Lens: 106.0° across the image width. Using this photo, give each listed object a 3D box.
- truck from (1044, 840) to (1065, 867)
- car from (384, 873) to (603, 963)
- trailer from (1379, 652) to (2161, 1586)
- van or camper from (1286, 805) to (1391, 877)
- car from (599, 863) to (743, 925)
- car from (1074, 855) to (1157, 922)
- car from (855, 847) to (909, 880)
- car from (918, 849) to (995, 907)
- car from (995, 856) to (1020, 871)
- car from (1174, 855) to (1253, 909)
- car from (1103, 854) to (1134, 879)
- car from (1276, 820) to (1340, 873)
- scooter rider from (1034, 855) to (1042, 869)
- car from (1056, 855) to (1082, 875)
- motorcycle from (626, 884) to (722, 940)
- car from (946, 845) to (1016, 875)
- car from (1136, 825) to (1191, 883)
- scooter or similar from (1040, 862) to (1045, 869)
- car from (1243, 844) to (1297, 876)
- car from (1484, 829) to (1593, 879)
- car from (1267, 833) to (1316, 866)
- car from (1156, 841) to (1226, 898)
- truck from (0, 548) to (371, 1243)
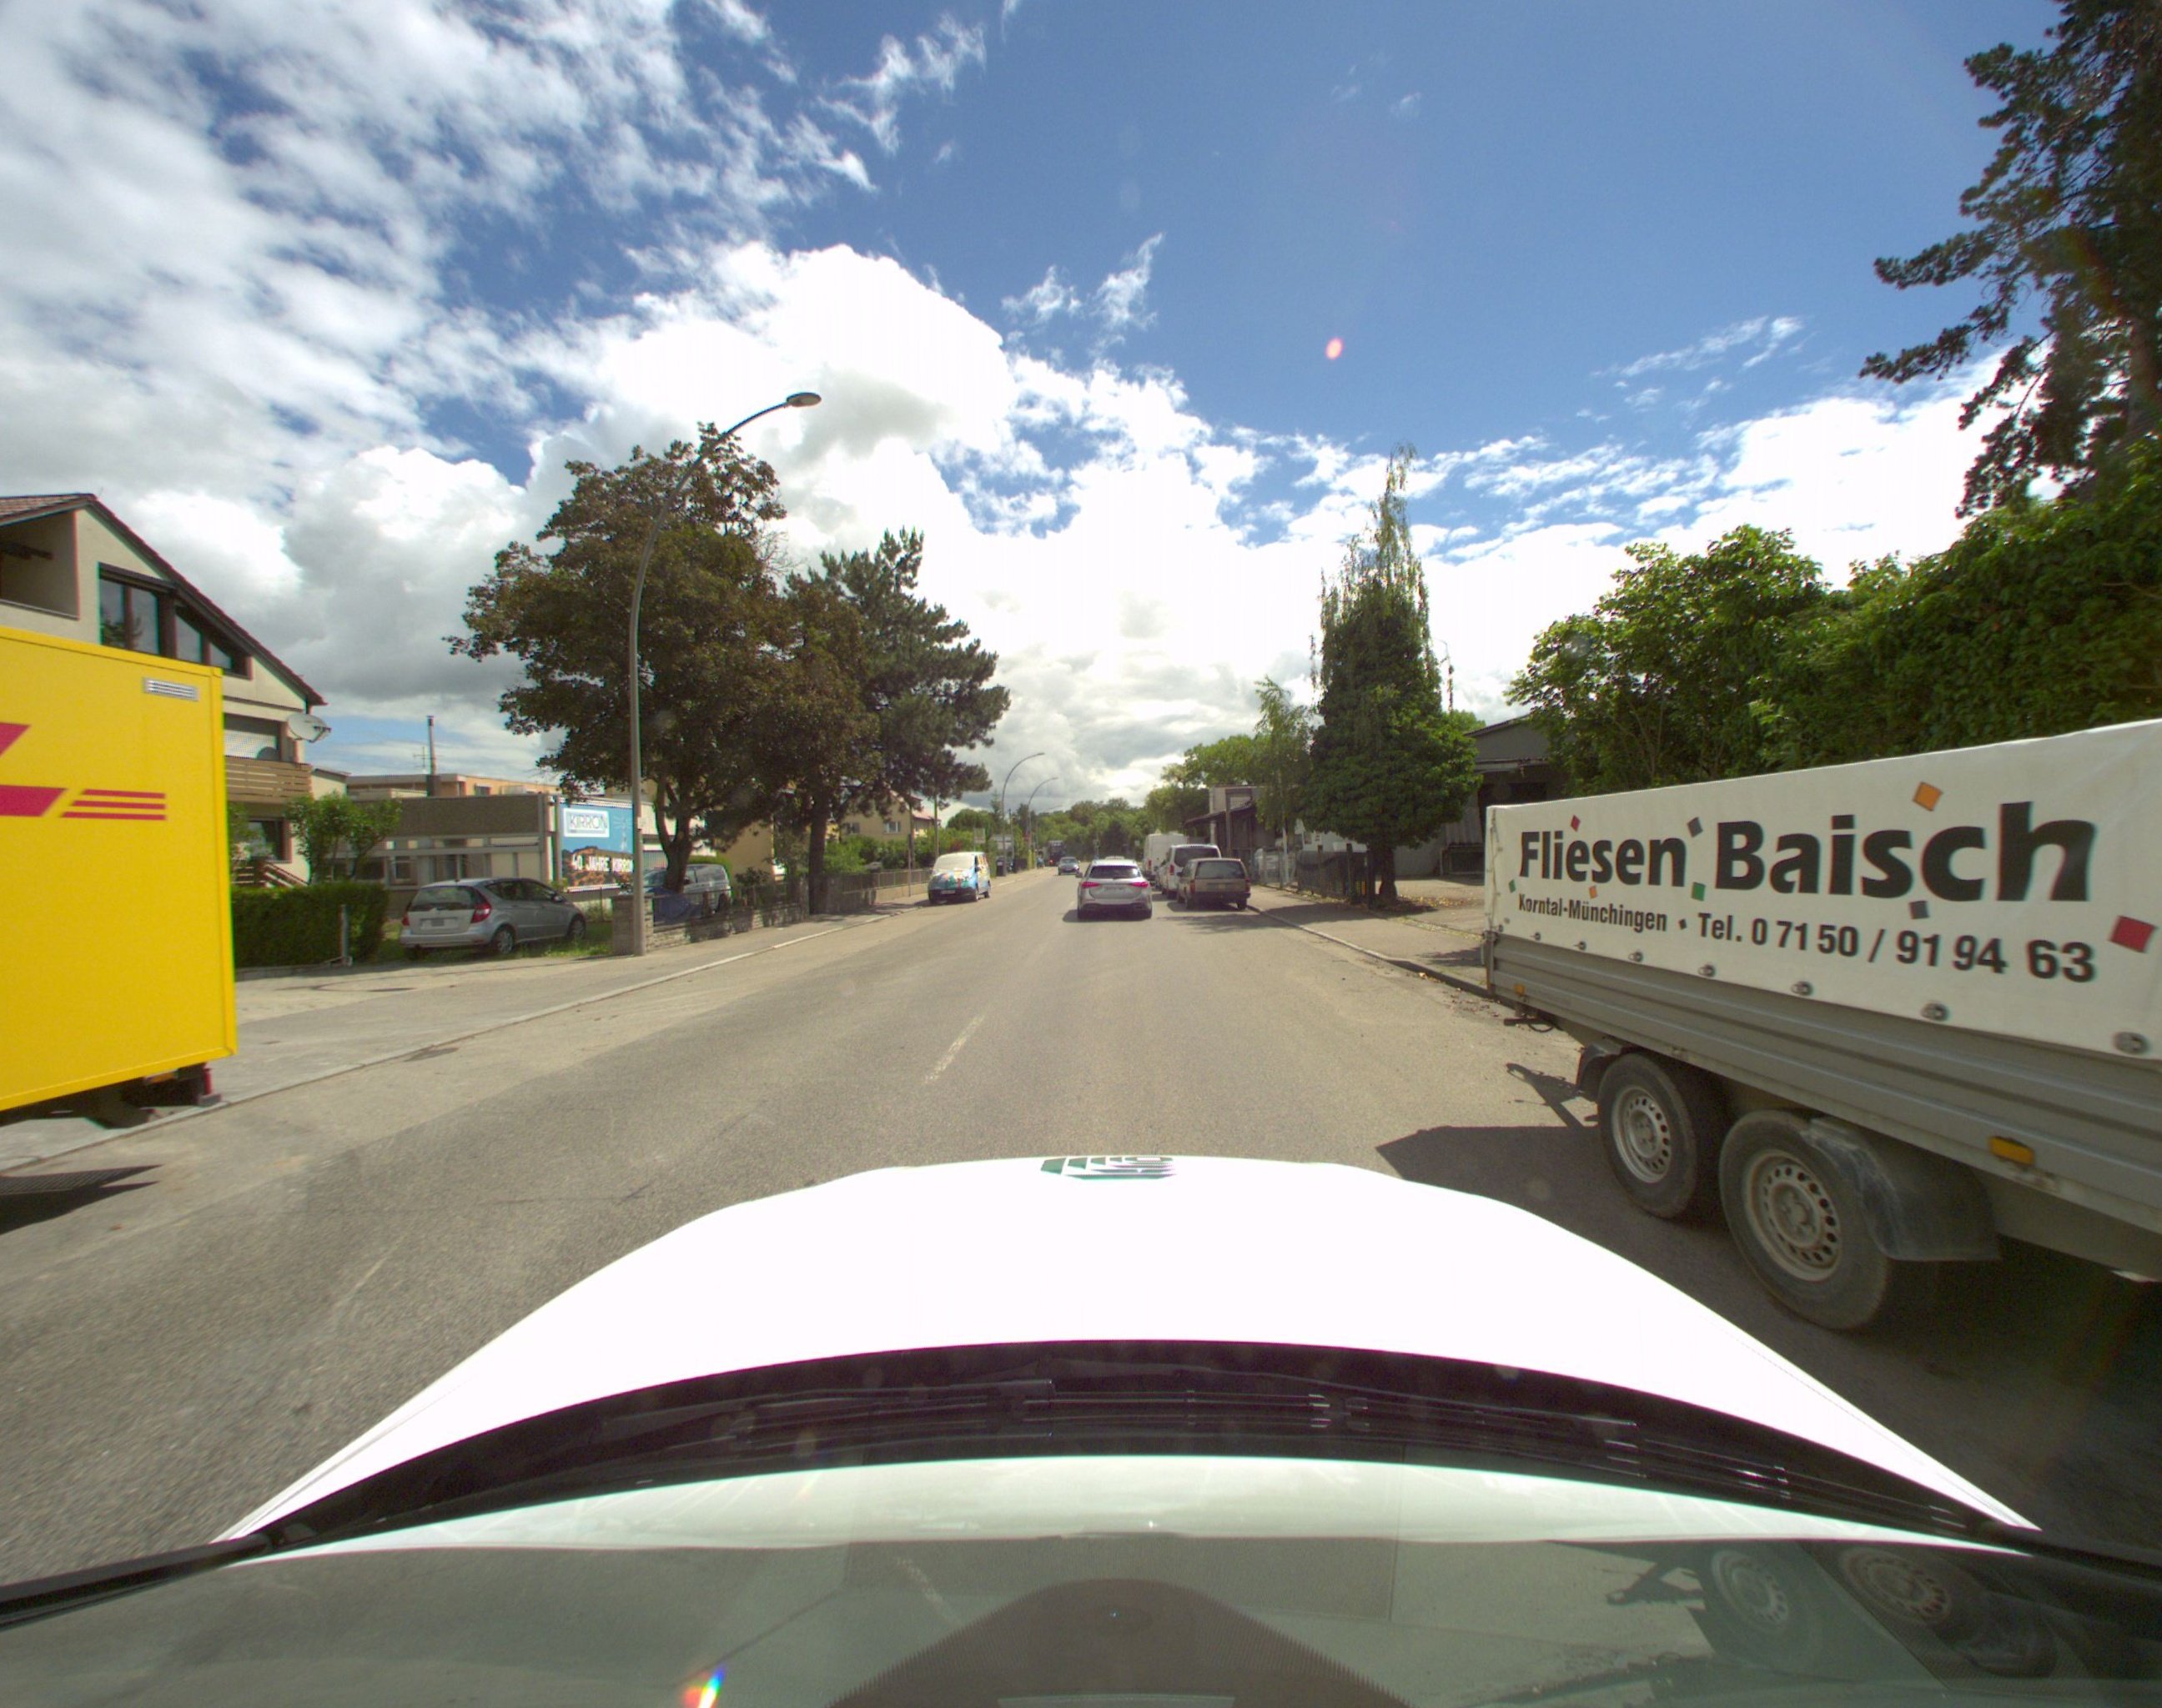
[{"bbox_3d":[-4.290,-0.018,129.771,2.427,4.131,9.127,0,-1,-7],"label":"truck"},{"bbox_3d":[-12.314,1.251,17.470,1.762,1.543,4.085,-2,0,-2],"label":"car"},{"bbox_3d":[3.182,0.516,3.811,1.986,1.823,4.767,0,0,2],"label":"trailer"},{"bbox_3d":[12.198,-0.578,39.309,2.871,3.061,6.914,-2,0,1],"label":"van or camper"},{"bbox_3d":[-14.207,1.318,28.673,2.072,1.830,5.481,-3,0,2],"label":"car"},{"bbox_3d":[0.834,0.805,20.897,1.878,1.508,4.001,-2,0,1],"label":"car"},{"bbox_3d":[-16.663,0.779,68.554,2.401,2.495,6.143,-4,0,5],"label":"car"},{"bbox_3d":[-4.627,0.825,31.022,1.826,1.853,4.898,-5,0,2],"label":"car"},{"bbox_3d":[-7.625,0.976,84.522,2.147,1.507,4.266,-2,0,-1],"label":"car"},{"bbox_3d":[3.837,0.763,24.380,1.748,1.450,4.997,0,0,2],"label":"car"},{"bbox_3d":[2.350,0.792,52.335,1.878,1.508,4.001,-2,0,1],"label":"car"},{"bbox_3d":[12.529,-0.454,45.331,2.011,2.681,5.498,-2,1,0],"label":"car"},{"bbox_3d":[-5.135,0.973,97.203,0.875,1.589,0.796,-2,0,2],"label":"scooter rider"},{"bbox_3d":[-0.974,0.925,68.584,1.894,1.518,4.319,-3,0,1],"label":"car"},{"bbox_3d":[-9.201,1.303,18.407,1.855,1.165,0.828,-2,0,18],"label":"motorcycle"},{"bbox_3d":[-9.287,0.532,76.179,6.014,2.496,2.478,-2,0,1],"label":"car"},{"bbox_3d":[4.226,-0.006,42.776,2.207,2.689,6.658,-3,0,1],"label":"car"},{"bbox_3d":[-4.575,1.353,96.706,0.609,0.831,0.659,0,0,2],"label":"scooter or similar"},{"bbox_3d":[9.539,0.272,41.475,1.758,1.489,4.929,-2,1,2],"label":"car"},{"bbox_3d":[17.918,-0.059,32.178,1.810,1.751,4.817,-2,2,3],"label":"car"},{"bbox_3d":[13.425,-0.306,52.169,1.986,1.910,4.855,-2,0,2],"label":"car"},{"bbox_3d":[3.936,0.507,29.938,1.898,1.885,5.390,0,0,1],"label":"car"},{"bbox_3d":[-5.851,0.227,1.298,2.316,3.003,7.819,-4,0,1],"label":"truck"}]
